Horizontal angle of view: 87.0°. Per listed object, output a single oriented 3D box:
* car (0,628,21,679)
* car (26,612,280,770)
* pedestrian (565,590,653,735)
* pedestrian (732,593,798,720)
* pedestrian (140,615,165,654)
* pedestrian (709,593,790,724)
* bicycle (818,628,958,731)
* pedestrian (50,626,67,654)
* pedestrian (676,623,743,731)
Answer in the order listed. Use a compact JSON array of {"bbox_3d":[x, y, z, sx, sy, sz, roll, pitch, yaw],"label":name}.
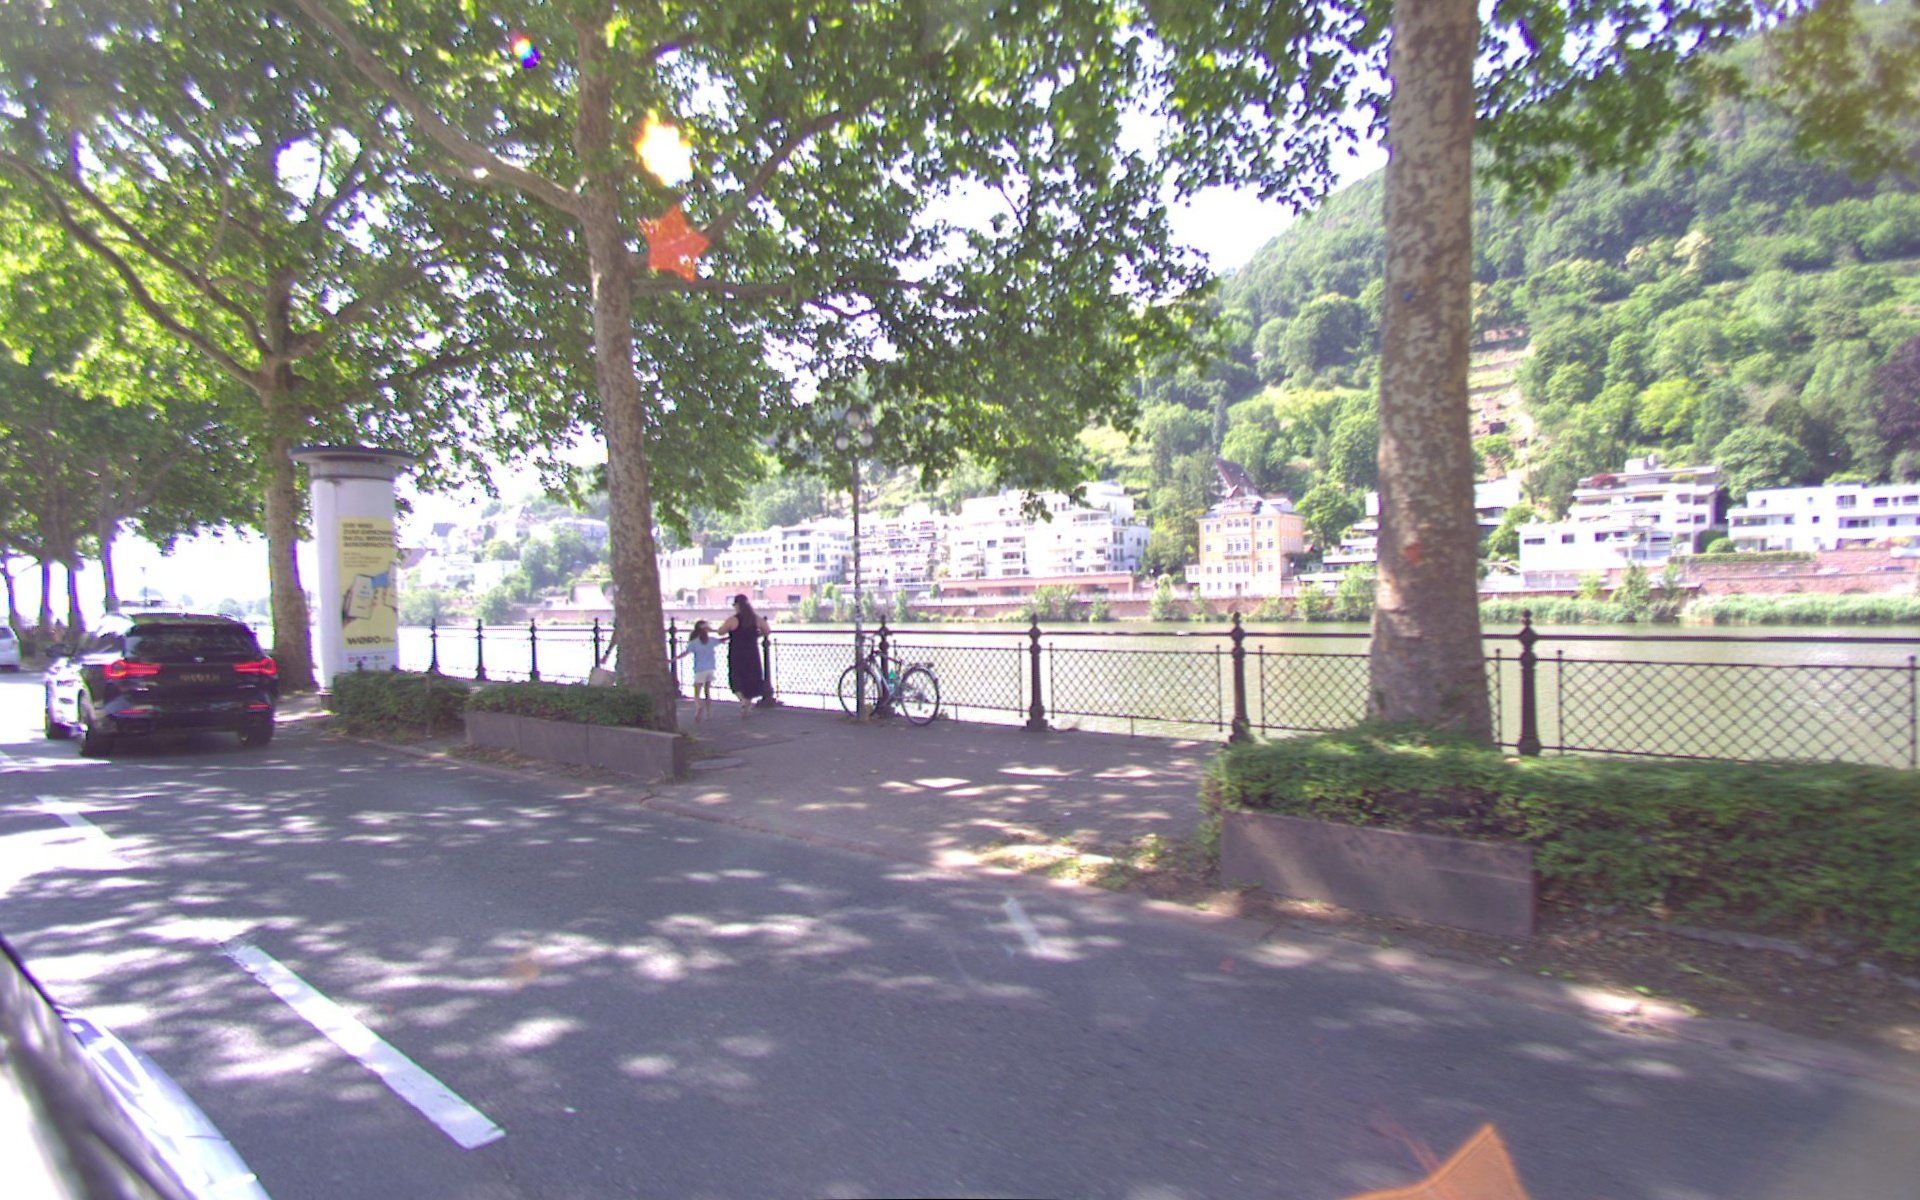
[{"bbox_3d":[-32.365,1.744,33.111,4.256,1.620,1.973,-1,0,41],"label":"car"},{"bbox_3d":[-10.543,1.060,13.079,4.744,1.684,1.850,-3,-2,42],"label":"car"},{"bbox_3d":[-4.391,0.753,12.658,0.729,1.743,0.750,-1,0,41],"label":"pedestrian"},{"bbox_3d":[-2.615,0.741,13.577,0.552,1.640,0.625,-1,0,41],"label":"pedestrian"},{"bbox_3d":[-36.183,1.544,45.357,0.729,1.719,0.750,-1,0,41],"label":"pedestrian"},{"bbox_3d":[-2.838,0.769,13.672,0.709,1.696,0.783,-1,0,41],"label":"pedestrian"},{"bbox_3d":[-0.920,0.942,12.527,1.843,1.161,0.557,-1,1,41],"label":"bicycle"},{"bbox_3d":[-57.798,2.569,64.884,0.730,1.719,0.750,-2,-2,43],"label":"pedestrian"},{"bbox_3d":[-3.240,0.978,13.087,0.552,1.330,0.625,-1,0,41],"label":"pedestrian"}]
